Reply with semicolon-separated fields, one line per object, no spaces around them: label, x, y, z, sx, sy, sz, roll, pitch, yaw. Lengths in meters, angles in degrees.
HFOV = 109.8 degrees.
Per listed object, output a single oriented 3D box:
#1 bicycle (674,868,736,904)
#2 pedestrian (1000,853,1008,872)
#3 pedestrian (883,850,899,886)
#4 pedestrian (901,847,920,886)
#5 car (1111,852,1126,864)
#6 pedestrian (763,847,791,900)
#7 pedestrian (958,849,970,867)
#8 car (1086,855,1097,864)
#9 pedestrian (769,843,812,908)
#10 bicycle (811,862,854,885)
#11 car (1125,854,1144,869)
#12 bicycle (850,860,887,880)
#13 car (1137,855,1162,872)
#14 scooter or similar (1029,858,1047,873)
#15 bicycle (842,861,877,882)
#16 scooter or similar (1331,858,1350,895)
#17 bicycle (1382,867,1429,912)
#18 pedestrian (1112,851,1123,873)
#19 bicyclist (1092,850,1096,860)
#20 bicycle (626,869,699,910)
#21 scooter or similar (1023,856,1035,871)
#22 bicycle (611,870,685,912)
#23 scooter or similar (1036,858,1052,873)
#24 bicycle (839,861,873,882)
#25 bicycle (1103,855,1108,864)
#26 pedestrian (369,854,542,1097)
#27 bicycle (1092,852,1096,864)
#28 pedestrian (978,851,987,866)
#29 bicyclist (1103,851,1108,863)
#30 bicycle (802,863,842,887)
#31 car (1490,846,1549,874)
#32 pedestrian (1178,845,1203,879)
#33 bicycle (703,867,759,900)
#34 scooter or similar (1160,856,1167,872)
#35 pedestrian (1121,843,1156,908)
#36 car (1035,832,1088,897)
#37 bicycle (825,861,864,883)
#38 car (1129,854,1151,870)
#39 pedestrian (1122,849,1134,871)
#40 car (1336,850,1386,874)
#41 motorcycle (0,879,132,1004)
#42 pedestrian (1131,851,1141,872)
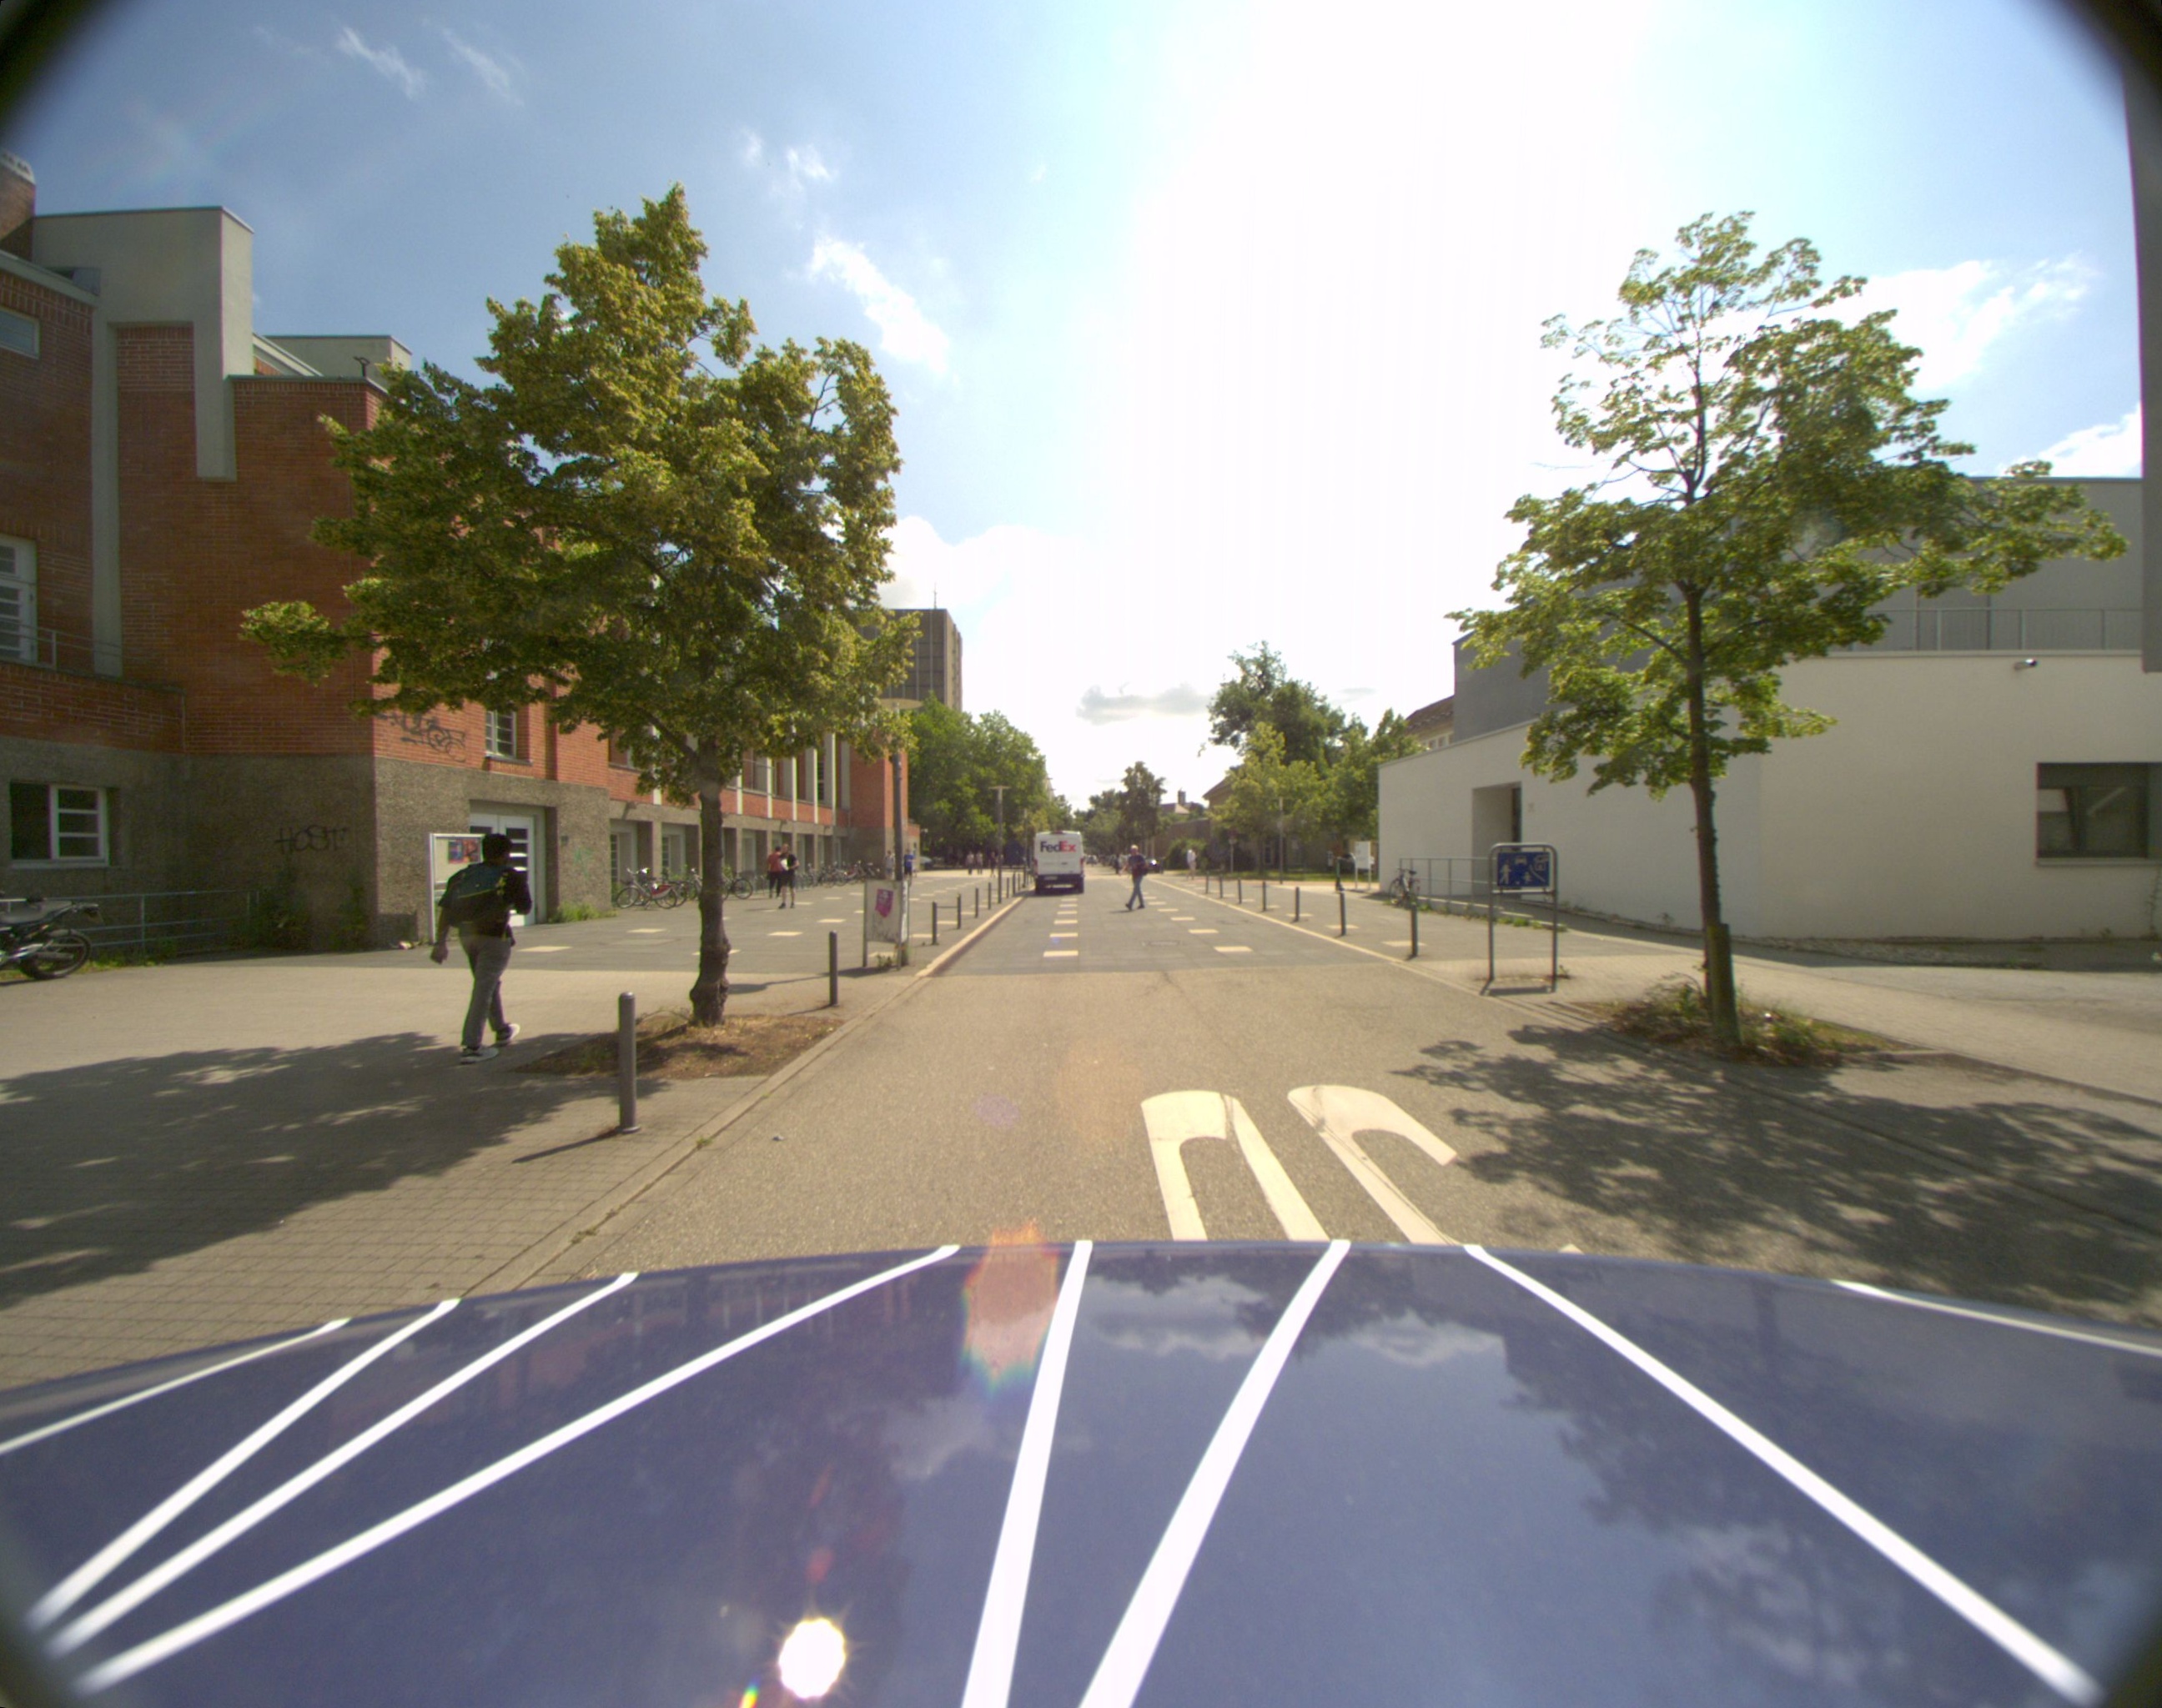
bicycle;-11.961;1.008;24.182;1.752;1.103;0.435;0;1;-2
pedestrian;-7.037;0.772;69.428;0.785;1.666;1.078;0;1;-6
pedestrian;-9.202;0.662;36.882;0.586;1.697;1.001;0;1;-3
pedestrian;-8.282;0.602;36.938;0.666;1.879;1.109;0;1;-2
car;5.353;0.581;109.726;1.932;1.624;4.372;0;0;1
pedestrian;-10.545;0.668;26.367;0.665;1.823;0.905;-1;1;-6
pedestrian;-12.839;0.389;83.367;0.984;1.935;0.976;-3;2;-22
car;1.921;1.004;135.597;1.932;1.624;4.372;0;0;1
pedestrian;-8.378;0.601;21.984;0.846;1.823;1.197;-1;1;-5
bicycle;-11.945;0.935;36.563;1.916;1.103;0.435;0;1;-2
car;5.229;0.715;74.263;1.648;1.368;4.000;0;0;1
bicycle;-11.864;0.904;42.507;1.935;1.103;0.456;0;1;-2
car;5.575;0.741;62.036;1.701;1.287;3.762;0;0;1
scooter or similar;-3.474;0.915;60.758;1.352;1.223;0.577;0;0;34
bicycle;-11.852;0.923;40.700;1.699;1.103;0.435;0;1;-2
scooter or similar;9.039;0.767;26.512;0.483;1.256;1.314;0;1;12
bicycle;8.304;0.889;19.537;0.544;1.055;1.899;0;0;5
pedestrian;2.819;0.619;59.503;0.622;1.706;1.004;0;0;-12
bicyclist;1.805;0.173;105.773;0.587;1.444;1.233;0;1;3
bicycle;-11.959;1.018;21.740;1.758;1.143;0.517;0;1;-2
scooter or similar;-4.330;0.785;62.978;0.575;1.173;1.479;0;0;13
bicycle;-11.854;1.006;20.814;1.758;1.143;0.435;0;1;-2
scooter or similar;-3.027;0.930;62.306;1.261;1.225;0.577;0;0;34
bicycle;-11.837;0.912;40.003;1.655;1.103;0.435;0;1;-2
bicycle;3.396;0.748;106.198;0.626;1.135;1.812;0;0;-2
pedestrian;-4.661;0.849;5.724;0.643;1.687;0.792;-1;1;-5
bicycle;1.805;0.531;105.709;0.588;1.670;1.759;0;0;3
pedestrian;-10.871;0.523;83.977;0.752;1.663;0.844;0;0;-23
bicyclist;3.394;0.450;106.232;0.630;1.597;1.328;0;1;-2
bicycle;-11.885;0.951;34.888;1.687;1.103;0.435;0;1;-2
car;32.108;0.385;55.789;1.811;1.949;4.527;0;2;3
pedestrian;5.958;0.441;41.460;1.022;1.837;0.918;2;1;30
bicycle;-11.806;0.997;25.641;1.687;1.103;0.435;0;1;-2
scooter or similar;6.288;0.774;58.102;0.470;1.209;1.205;0;0;5
pedestrian;1.627;0.605;21.711;0.826;1.807;1.144;-1;1;-5
car;-0.855;0.388;32.458;2.064;2.528;5.848;0;0;-2
bicycle;-11.925;0.914;38.376;1.801;1.103;0.435;0;1;-2
car;5.298;0.683;68.617;1.635;1.422;3.632;-1;0;0
pedestrian;3.664;0.468;59.745;0.726;1.776;0.899;-1;1;-12
car;20.447;0.562;55.737;1.899;1.572;4.648;0;2;-1
motorcycle;-12.028;0.965;8.203;0.697;1.315;2.220;0;0;2
pedestrian;4.322;0.585;59.883;0.558;1.706;0.972;-1;1;-12
